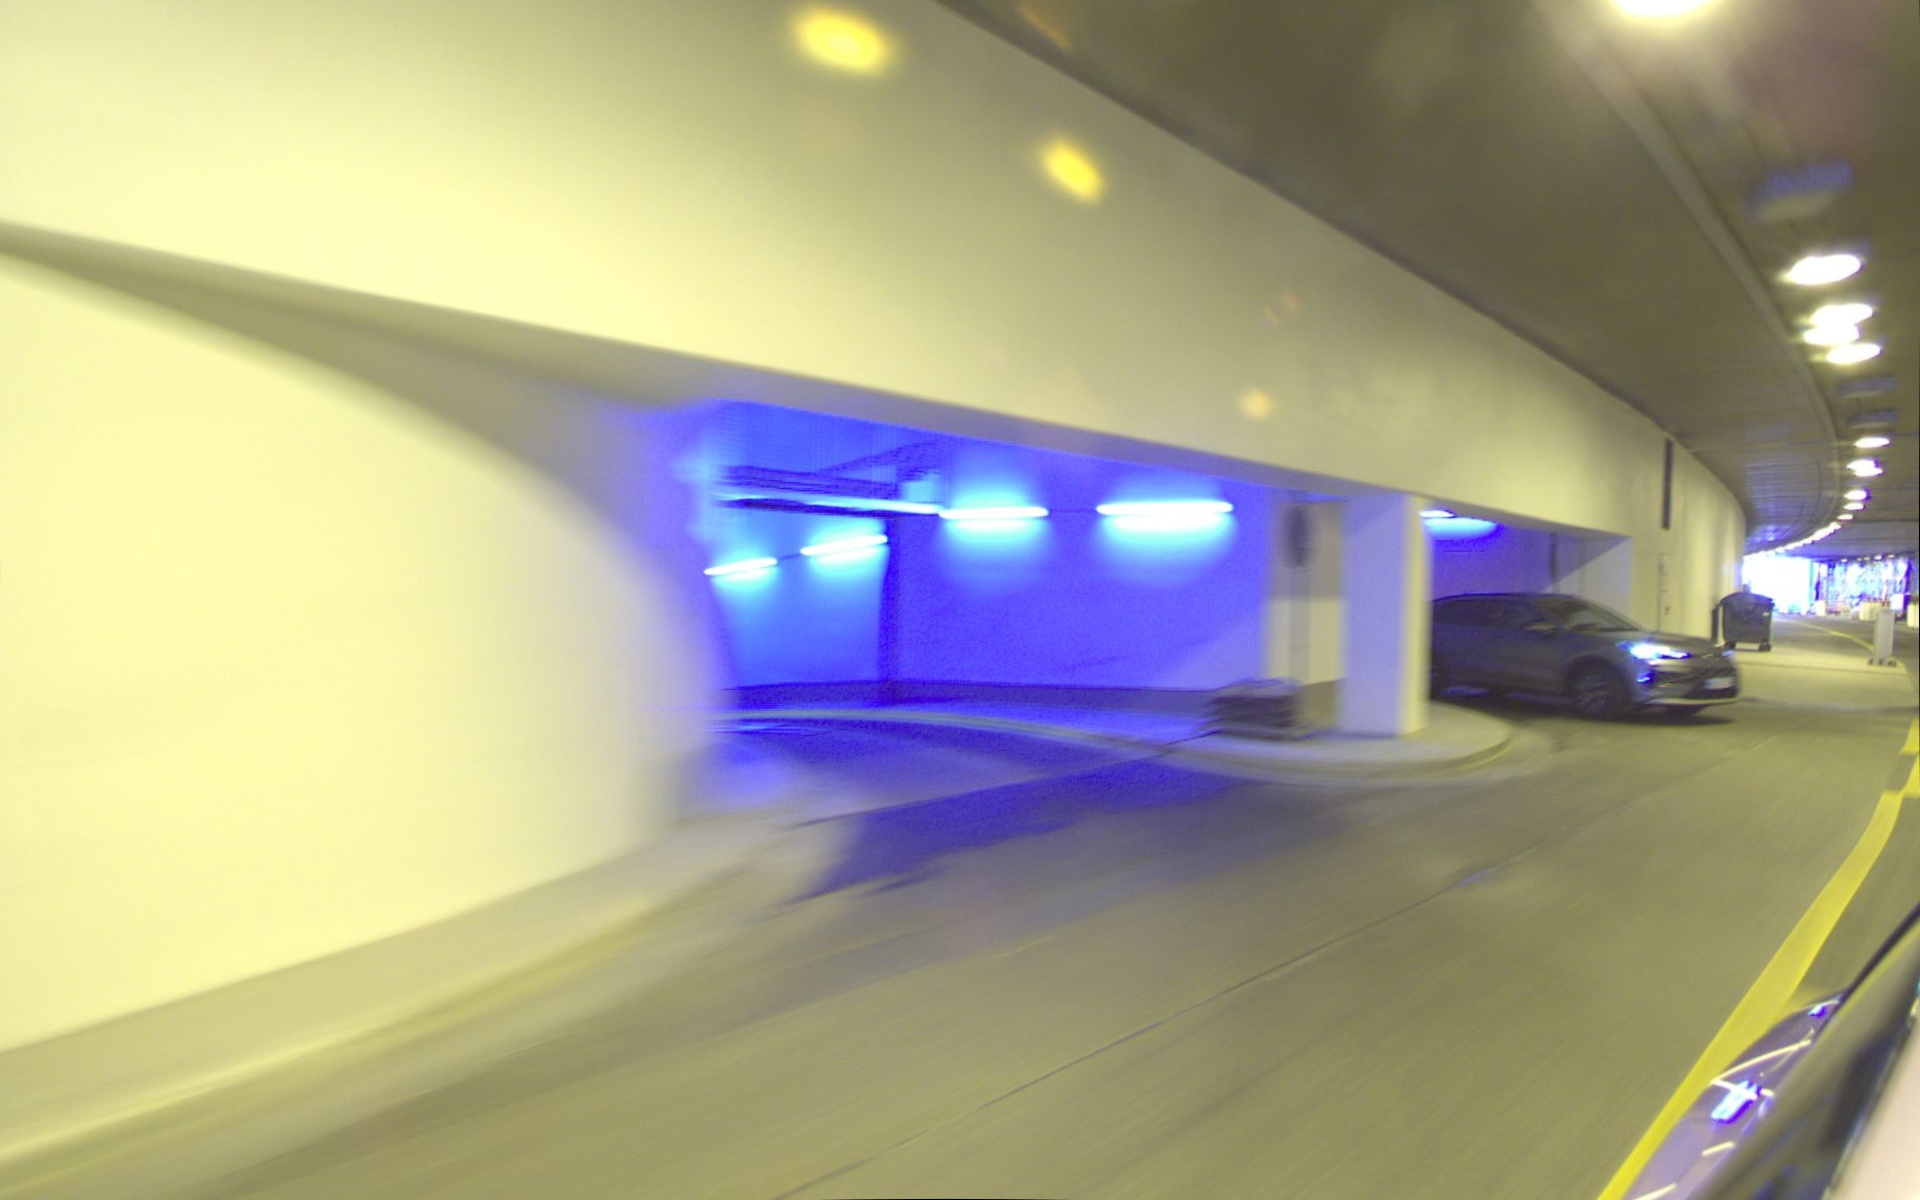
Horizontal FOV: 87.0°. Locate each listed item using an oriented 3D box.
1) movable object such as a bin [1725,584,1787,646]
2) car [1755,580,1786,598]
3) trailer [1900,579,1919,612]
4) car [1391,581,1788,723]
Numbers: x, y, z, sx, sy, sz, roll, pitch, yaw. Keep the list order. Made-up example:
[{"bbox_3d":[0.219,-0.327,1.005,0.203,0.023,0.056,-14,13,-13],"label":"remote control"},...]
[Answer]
[{"bbox_3d":[19.506,0.341,24.790,1.144,1.463,1.344,1,1,41],"label":"movable object such as a bin"},{"bbox_3d":[79.479,-1.083,99.302,1.986,1.775,3.953,0,1,33],"label":"car"},{"bbox_3d":[53.919,-0.282,56.397,1.632,1.813,3.087,0,1,32],"label":"trailer"},{"bbox_3d":[8.144,0.540,13.600,1.858,1.565,4.249,-1,1,-22],"label":"car"}]
